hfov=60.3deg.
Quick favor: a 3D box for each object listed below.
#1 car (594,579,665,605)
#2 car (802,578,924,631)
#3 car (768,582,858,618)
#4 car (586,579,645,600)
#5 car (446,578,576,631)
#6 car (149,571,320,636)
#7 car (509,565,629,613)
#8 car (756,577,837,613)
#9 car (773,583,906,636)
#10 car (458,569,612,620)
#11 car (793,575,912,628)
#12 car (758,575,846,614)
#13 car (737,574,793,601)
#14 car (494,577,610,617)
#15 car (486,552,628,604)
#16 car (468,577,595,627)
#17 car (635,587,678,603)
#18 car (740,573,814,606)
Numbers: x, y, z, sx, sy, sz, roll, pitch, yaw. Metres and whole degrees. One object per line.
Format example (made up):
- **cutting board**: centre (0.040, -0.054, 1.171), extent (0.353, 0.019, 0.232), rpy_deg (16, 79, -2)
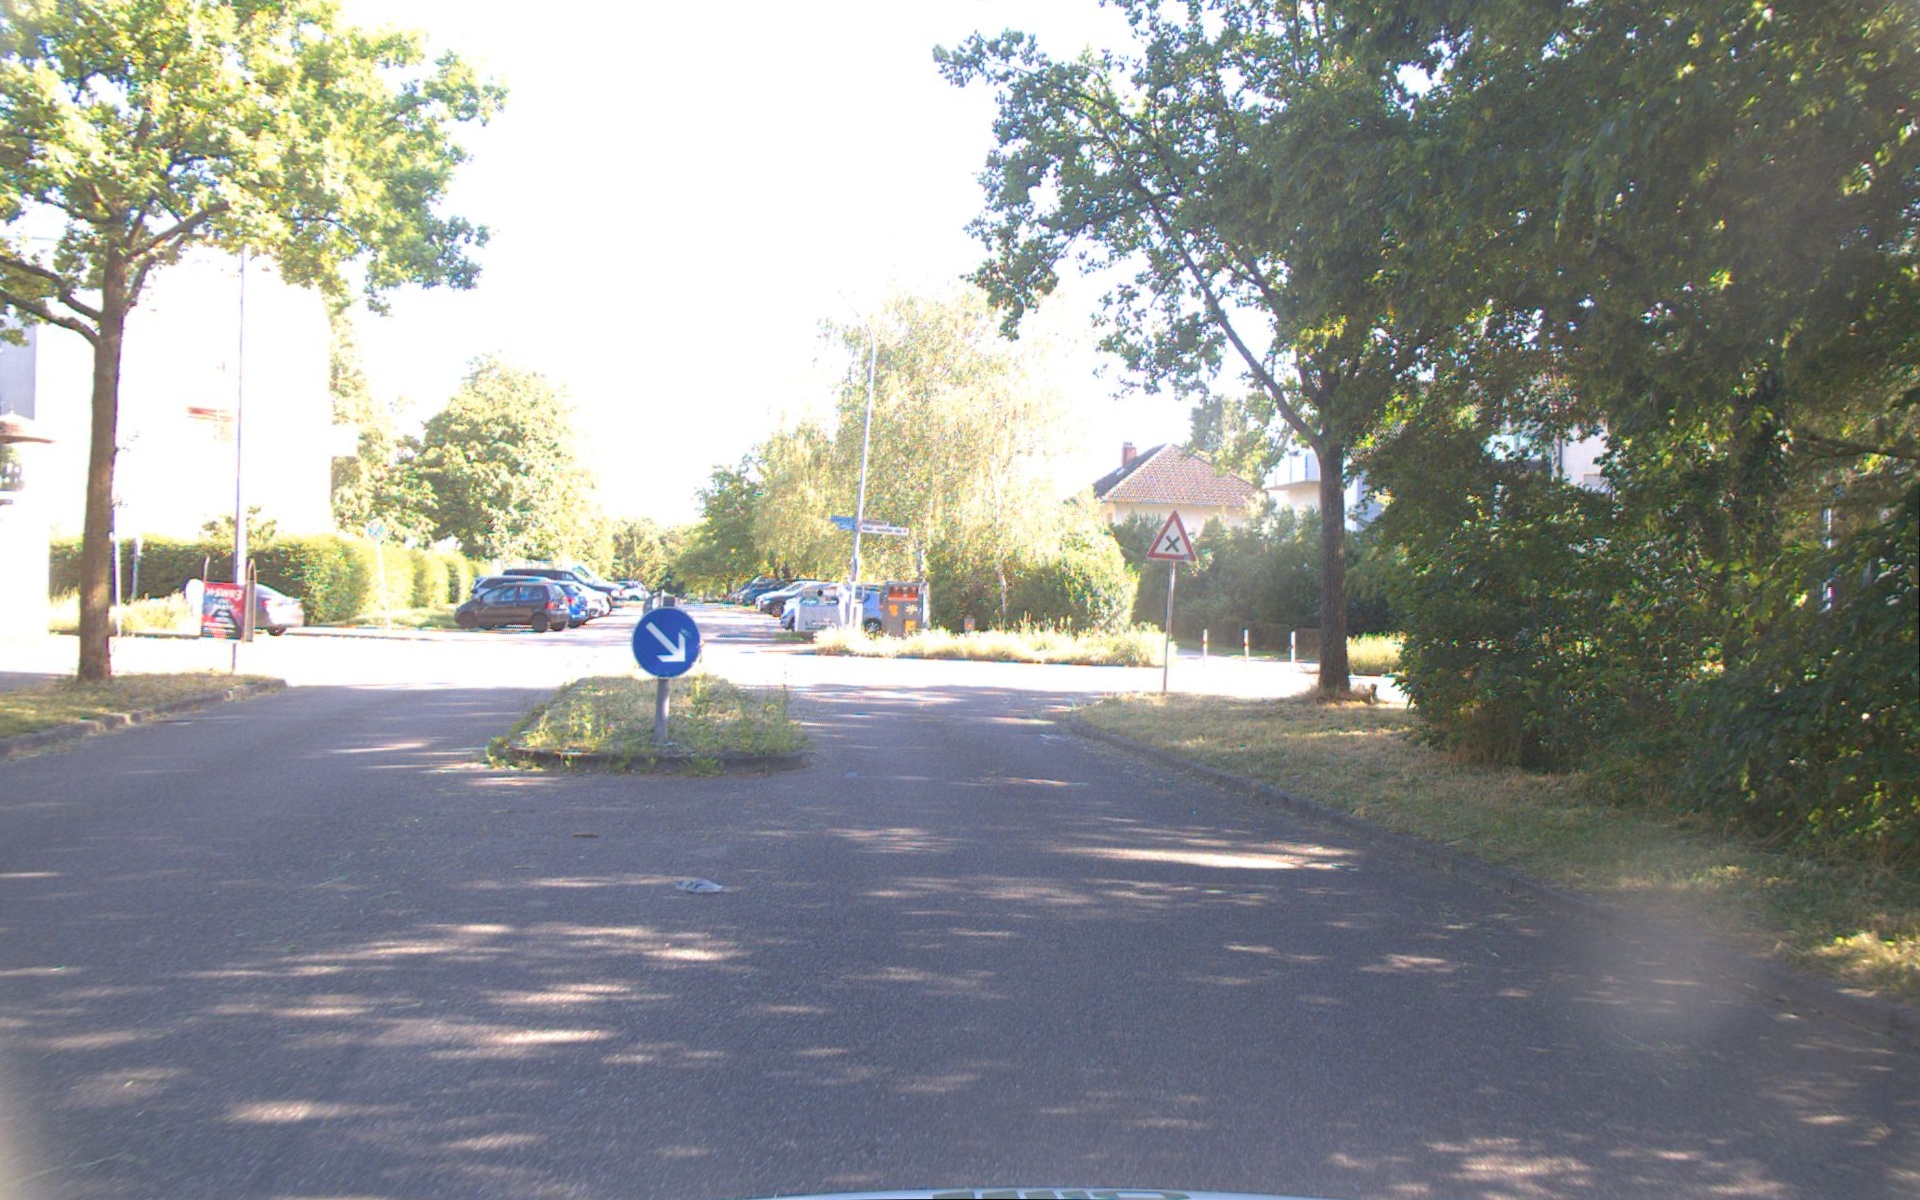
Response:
- **car**: centre (-18.794, -0.477, 94.117), extent (3.868, 1.357, 1.843), rpy_deg (1, 0, -10)
- **car**: centre (-3.422, 0.156, 58.028), extent (3.985, 1.631, 1.784), rpy_deg (2, 1, -15)
- **car**: centre (-6.525, 0.021, 73.408), extent (3.910, 1.425, 1.795), rpy_deg (2, 0, -6)
- **car**: centre (-23.777, -0.723, 114.262), extent (3.868, 1.357, 1.843), rpy_deg (1, 0, -10)
- **car**: centre (-13.765, 0.123, 50.794), extent (3.447, 1.492, 1.705), rpy_deg (2, 1, 8)
- **car**: centre (-19.963, 0.086, 45.565), extent (3.976, 1.672, 1.885), rpy_deg (1, 0, 14)
- **car**: centre (-15.813, -0.443, 67.011), extent (4.433, 1.802, 1.845), rpy_deg (1, 0, -4)
- **car**: centre (-8.125, -0.255, 82.443), extent (3.910, 1.613, 1.795), rpy_deg (2, 0, -6)
- **car**: centre (-3.791, 0.289, 52.401), extent (3.968, 1.464, 1.635), rpy_deg (3, 0, 4)
- **car**: centre (-14.666, -0.205, 57.244), extent (4.893, 1.683, 1.783), rpy_deg (1, 1, -4)
- **car**: centre (-3.964, 0.046, 60.849), extent (4.036, 1.735, 1.784), rpy_deg (2, 1, -16)
- **car**: centre (-7.262, -0.242, 76.188), extent (3.910, 1.613, 1.795), rpy_deg (2, 0, -6)
- **car**: centre (-13.978, -0.892, 118.856), extent (3.910, 1.738, 1.795), rpy_deg (2, 0, -6)
- **car**: centre (-15.052, -0.110, 61.242), extent (4.070, 1.480, 1.615), rpy_deg (0, 0, -12)
- **car**: centre (-18.383, -0.989, 75.747), extent (6.144, 2.184, 2.404), rpy_deg (1, 0, -11)
- **car**: centre (-13.795, 0.058, 53.332), extent (3.602, 1.522, 1.652), rpy_deg (1, 1, 4)
- **car**: centre (-26.274, -0.445, 143.200), extent (3.578, 1.234, 1.843), rpy_deg (1, 0, -10)
- **car**: centre (-9.997, -0.582, 90.628), extent (3.910, 1.613, 1.795), rpy_deg (2, 0, -6)
